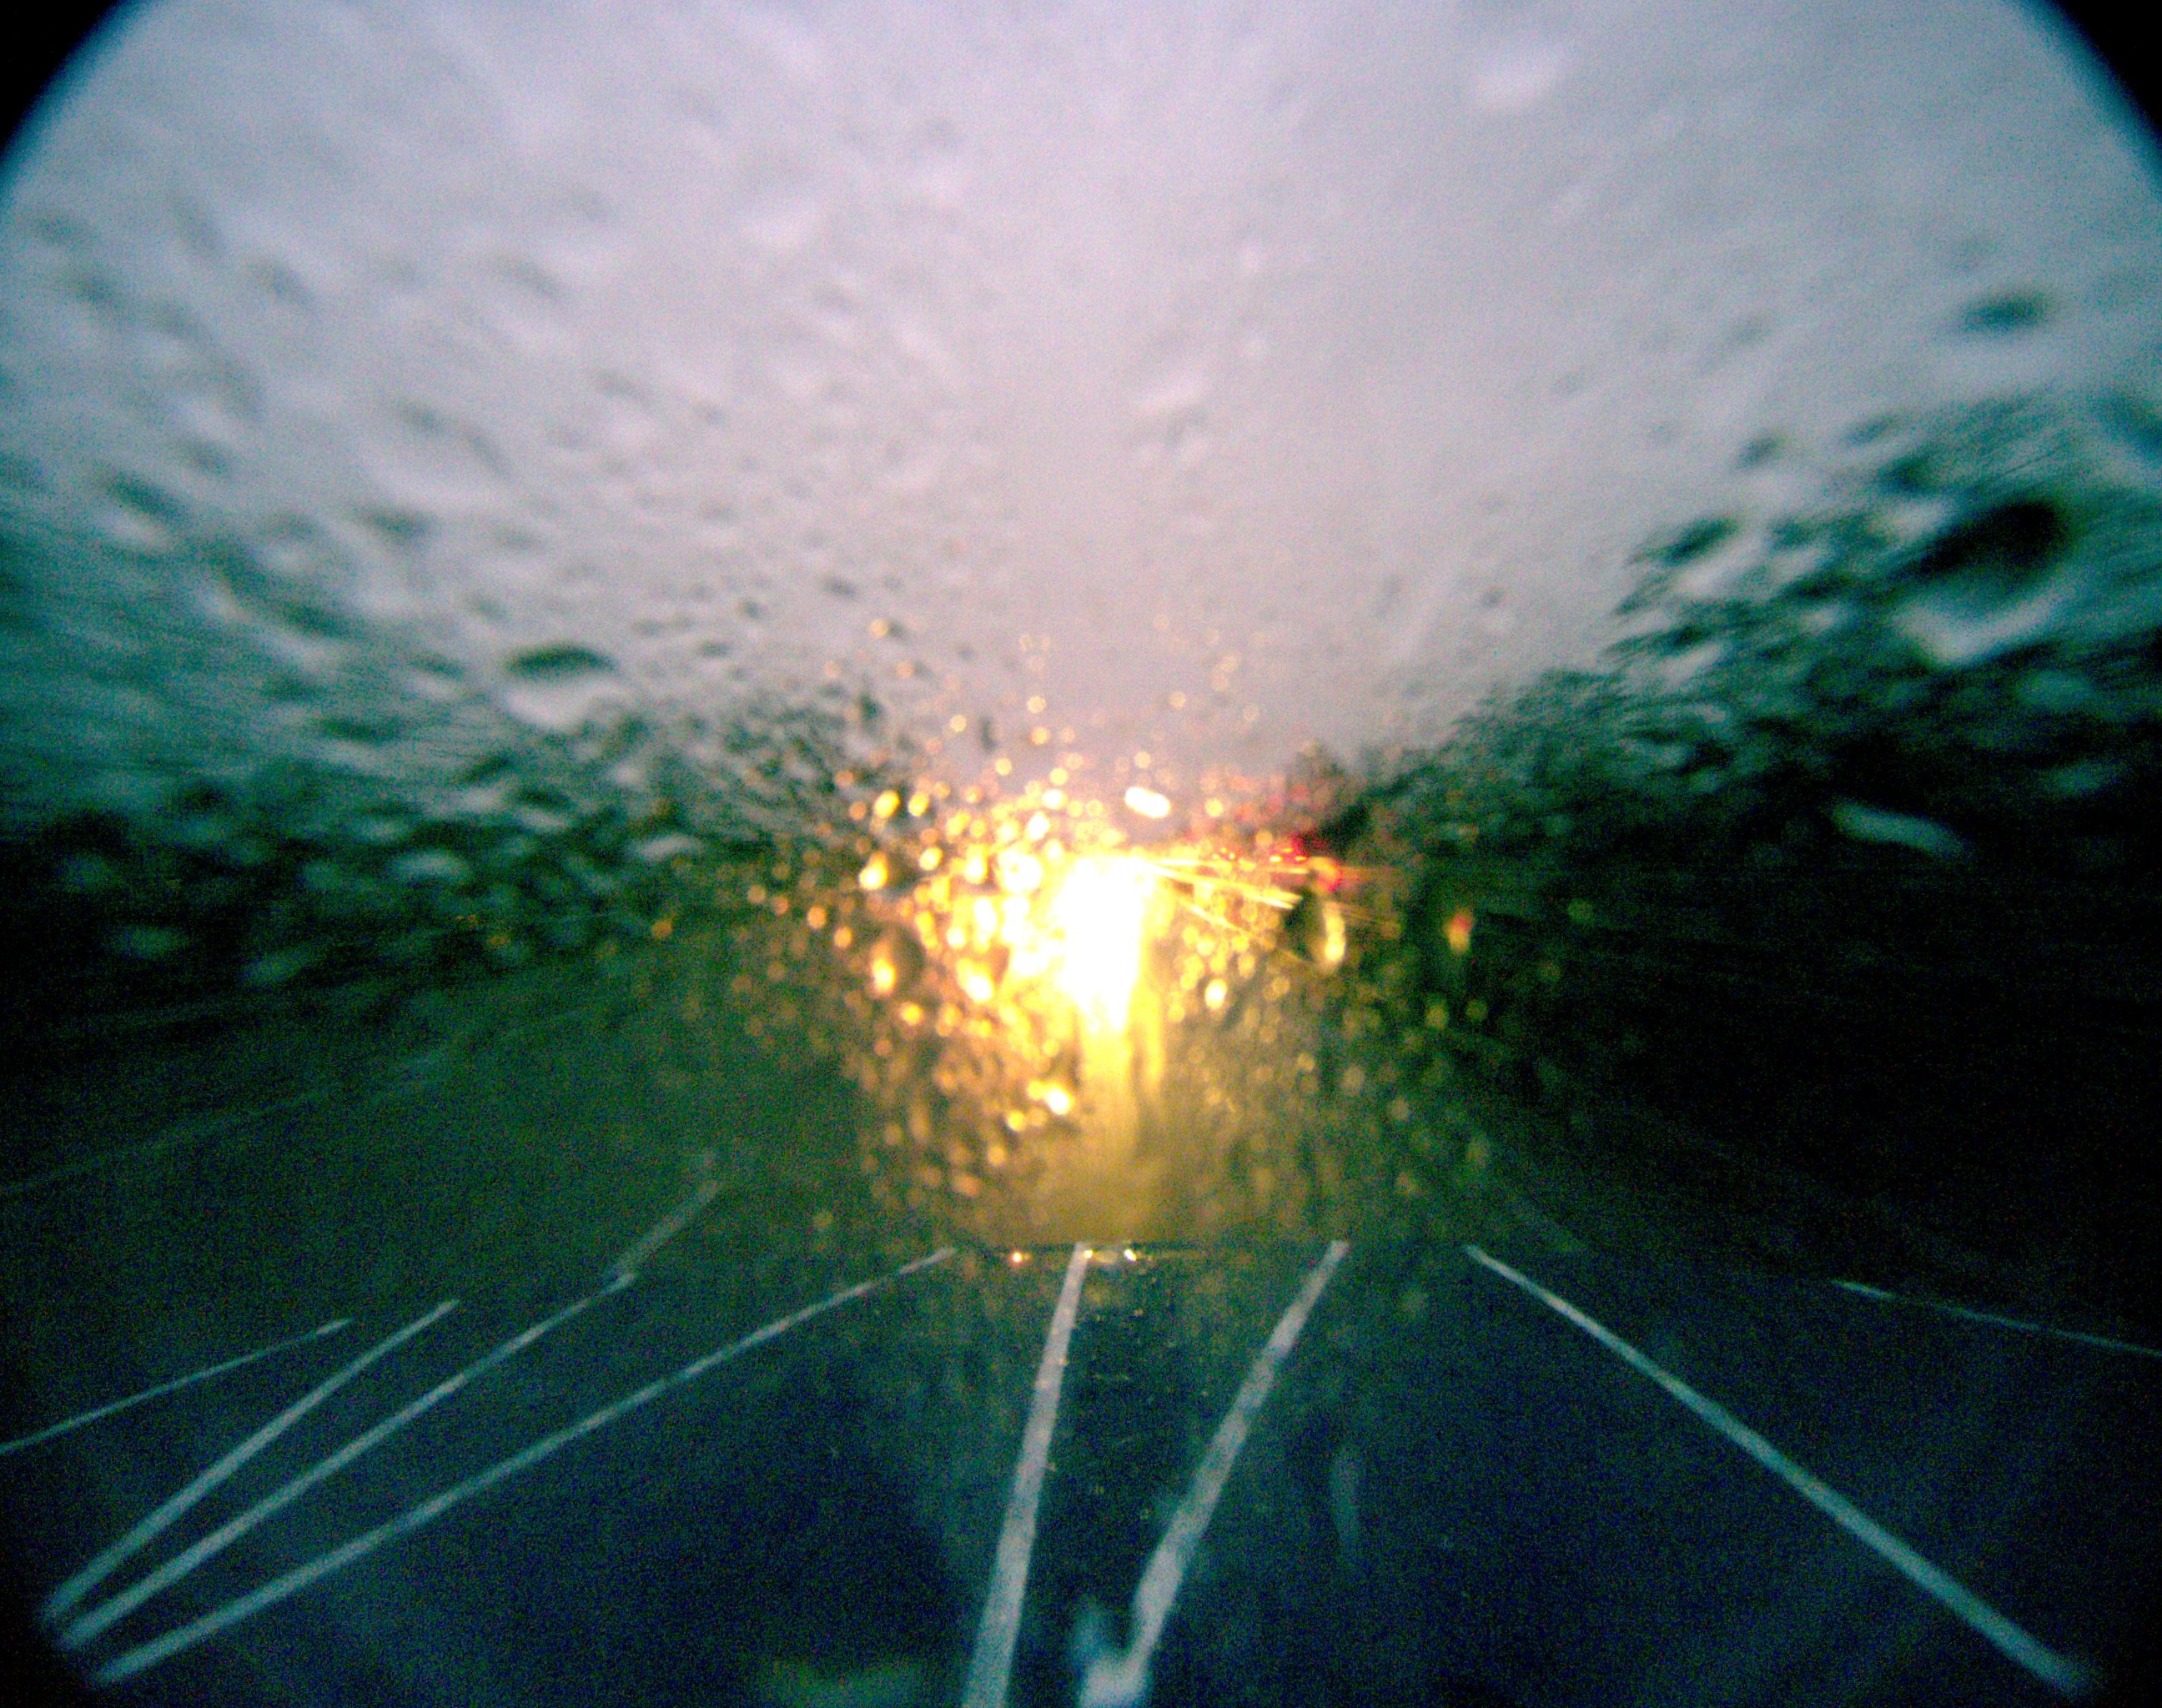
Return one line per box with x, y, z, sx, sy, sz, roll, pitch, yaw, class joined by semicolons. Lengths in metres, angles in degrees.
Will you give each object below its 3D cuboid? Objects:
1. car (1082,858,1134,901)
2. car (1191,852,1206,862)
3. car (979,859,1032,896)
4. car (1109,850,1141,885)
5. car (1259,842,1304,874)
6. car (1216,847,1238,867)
1.157;0.945;30.255;1.849;1.521;4.150;-2;0;4;car
18.105;0.488;117.294;1.849;1.520;4.305;-2;0;4;car
-3.410;1.047;35.082;1.850;1.521;4.149;-2;0;2;car
2.925;0.868;51.298;1.795;2.002;3.724;-5;2;1;car
12.072;0.188;46.025;1.749;1.823;4.135;-1;1;2;car
15.120;0.290;79.097;1.938;1.961;4.539;-2;1;8;car
